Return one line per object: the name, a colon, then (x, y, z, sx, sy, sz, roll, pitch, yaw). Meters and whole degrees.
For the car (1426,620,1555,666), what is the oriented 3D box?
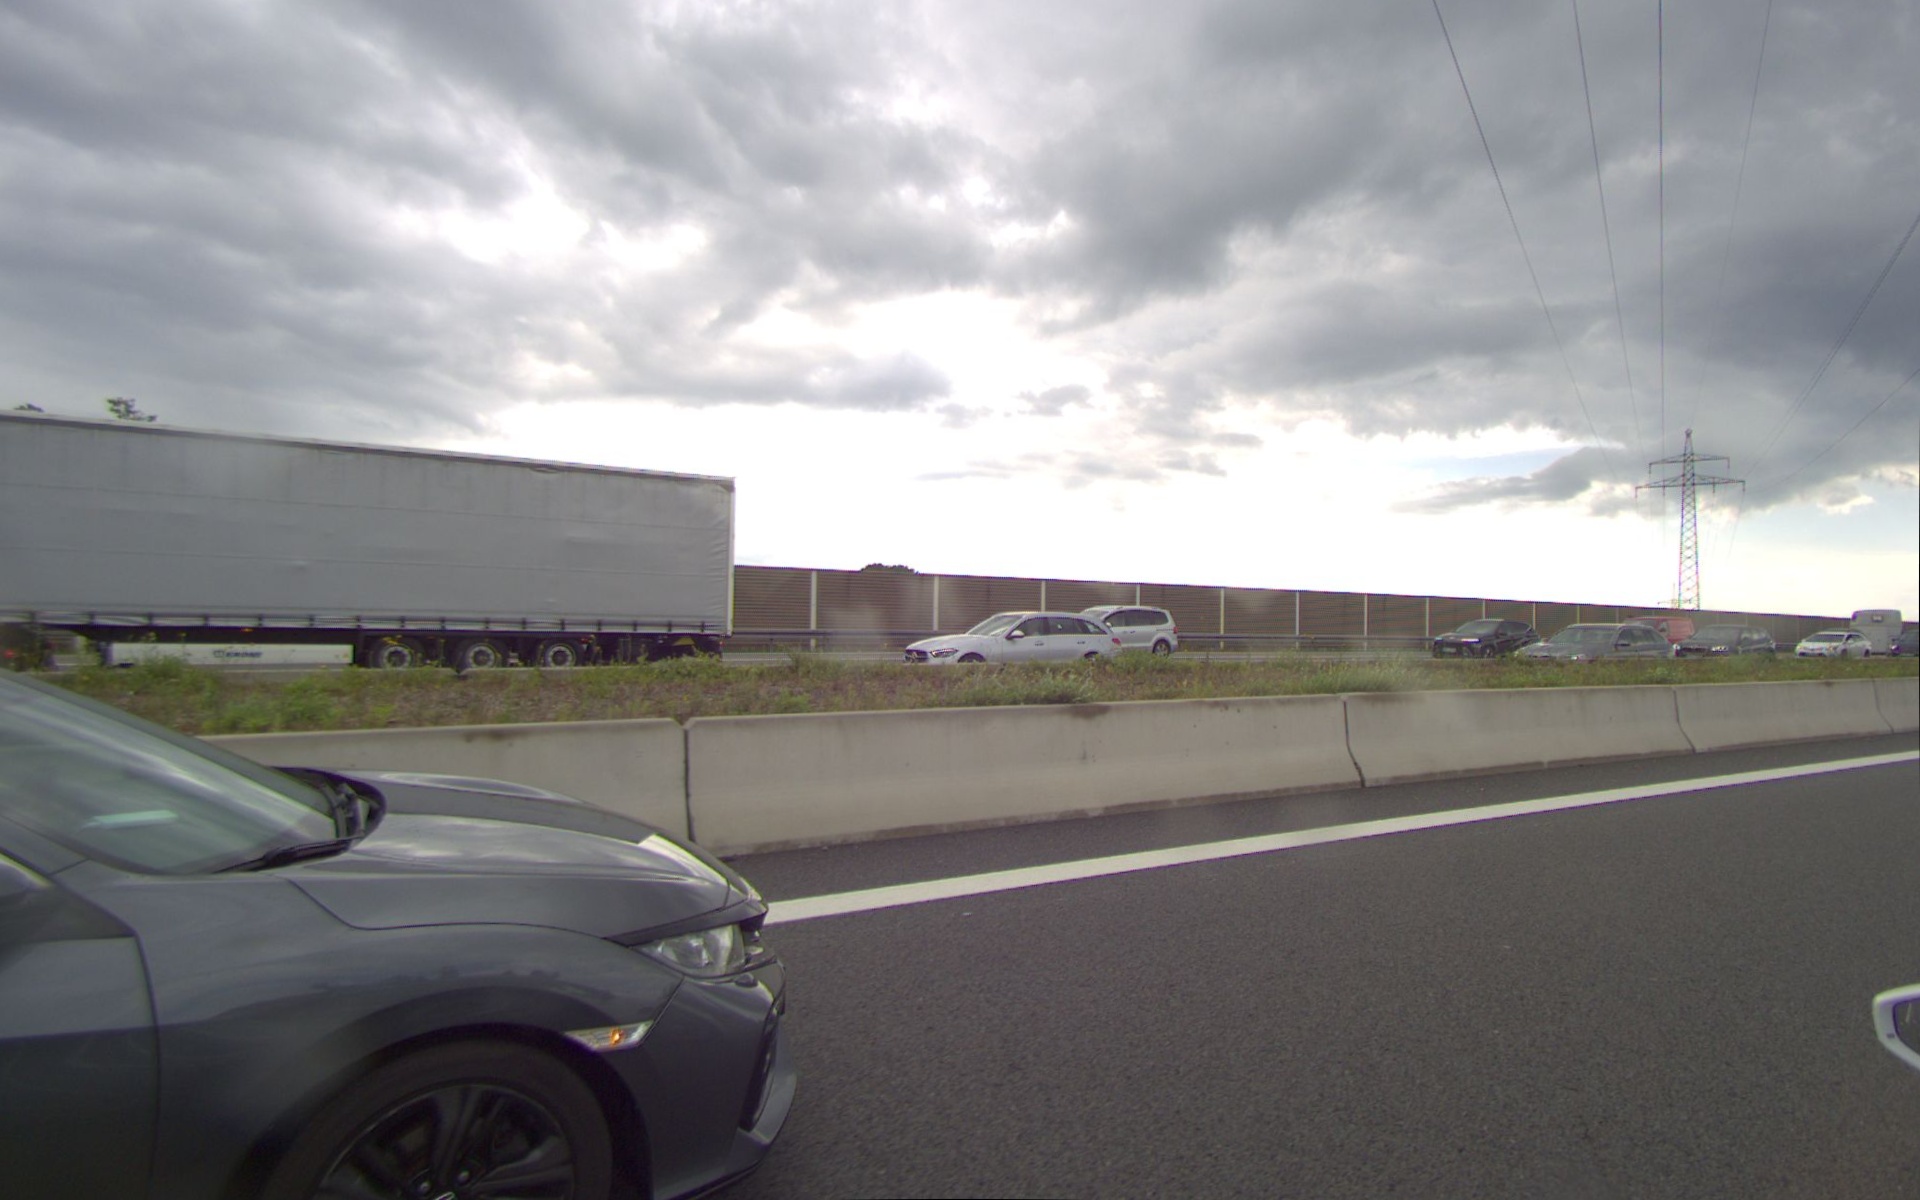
car: (18.724, 1.497, 35.387, 4.887, 1.473, 1.756, 2, 0, -31)

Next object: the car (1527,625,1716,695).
car: (15.861, 1.391, 24.009, 5.027, 1.473, 1.756, 2, 0, -31)

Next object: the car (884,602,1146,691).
car: (1.169, 0.901, 20.058, 5.102, 1.557, 1.756, 2, 0, -31)

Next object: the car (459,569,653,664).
car: (-9.413, 0.387, 23.403, 3.952, 2.040, 1.994, 2, 0, -29)

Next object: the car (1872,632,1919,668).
car: (43.386, 2.262, 45.636, 4.185, 1.473, 1.756, 2, 0, -31)

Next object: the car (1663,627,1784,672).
car: (27.459, 1.761, 36.081, 4.887, 1.473, 1.756, 2, 0, -31)

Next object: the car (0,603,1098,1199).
car: (-2.230, 0.706, 2.080, 5.002, 1.387, 1.752, 1, 0, -31)

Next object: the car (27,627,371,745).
car: (-16.227, 1.778, 21.970, 5.732, 2.223, 2.105, 2, 0, -31)

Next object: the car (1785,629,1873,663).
car: (41.872, 2.215, 48.364, 4.887, 1.473, 1.756, 2, 0, -31)

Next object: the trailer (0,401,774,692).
trailer: (-10.223, -0.651, 18.166, 13.134, 4.115, 3.302, 2, 0, -31)

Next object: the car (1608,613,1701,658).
car: (33.070, 1.689, 47.802, 4.887, 1.993, 1.756, 2, 0, -31)

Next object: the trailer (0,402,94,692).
trailer: (-16.687, -0.836, 14.274, 6.009, 4.097, 3.303, 2, 0, -31)

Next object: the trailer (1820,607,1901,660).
trailer: (53.824, 1.997, 60.014, 4.845, 3.001, 2.236, 2, 0, -31)

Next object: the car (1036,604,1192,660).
car: (4.911, 1.023, 31.812, 4.887, 1.632, 1.756, 2, 0, -31)
